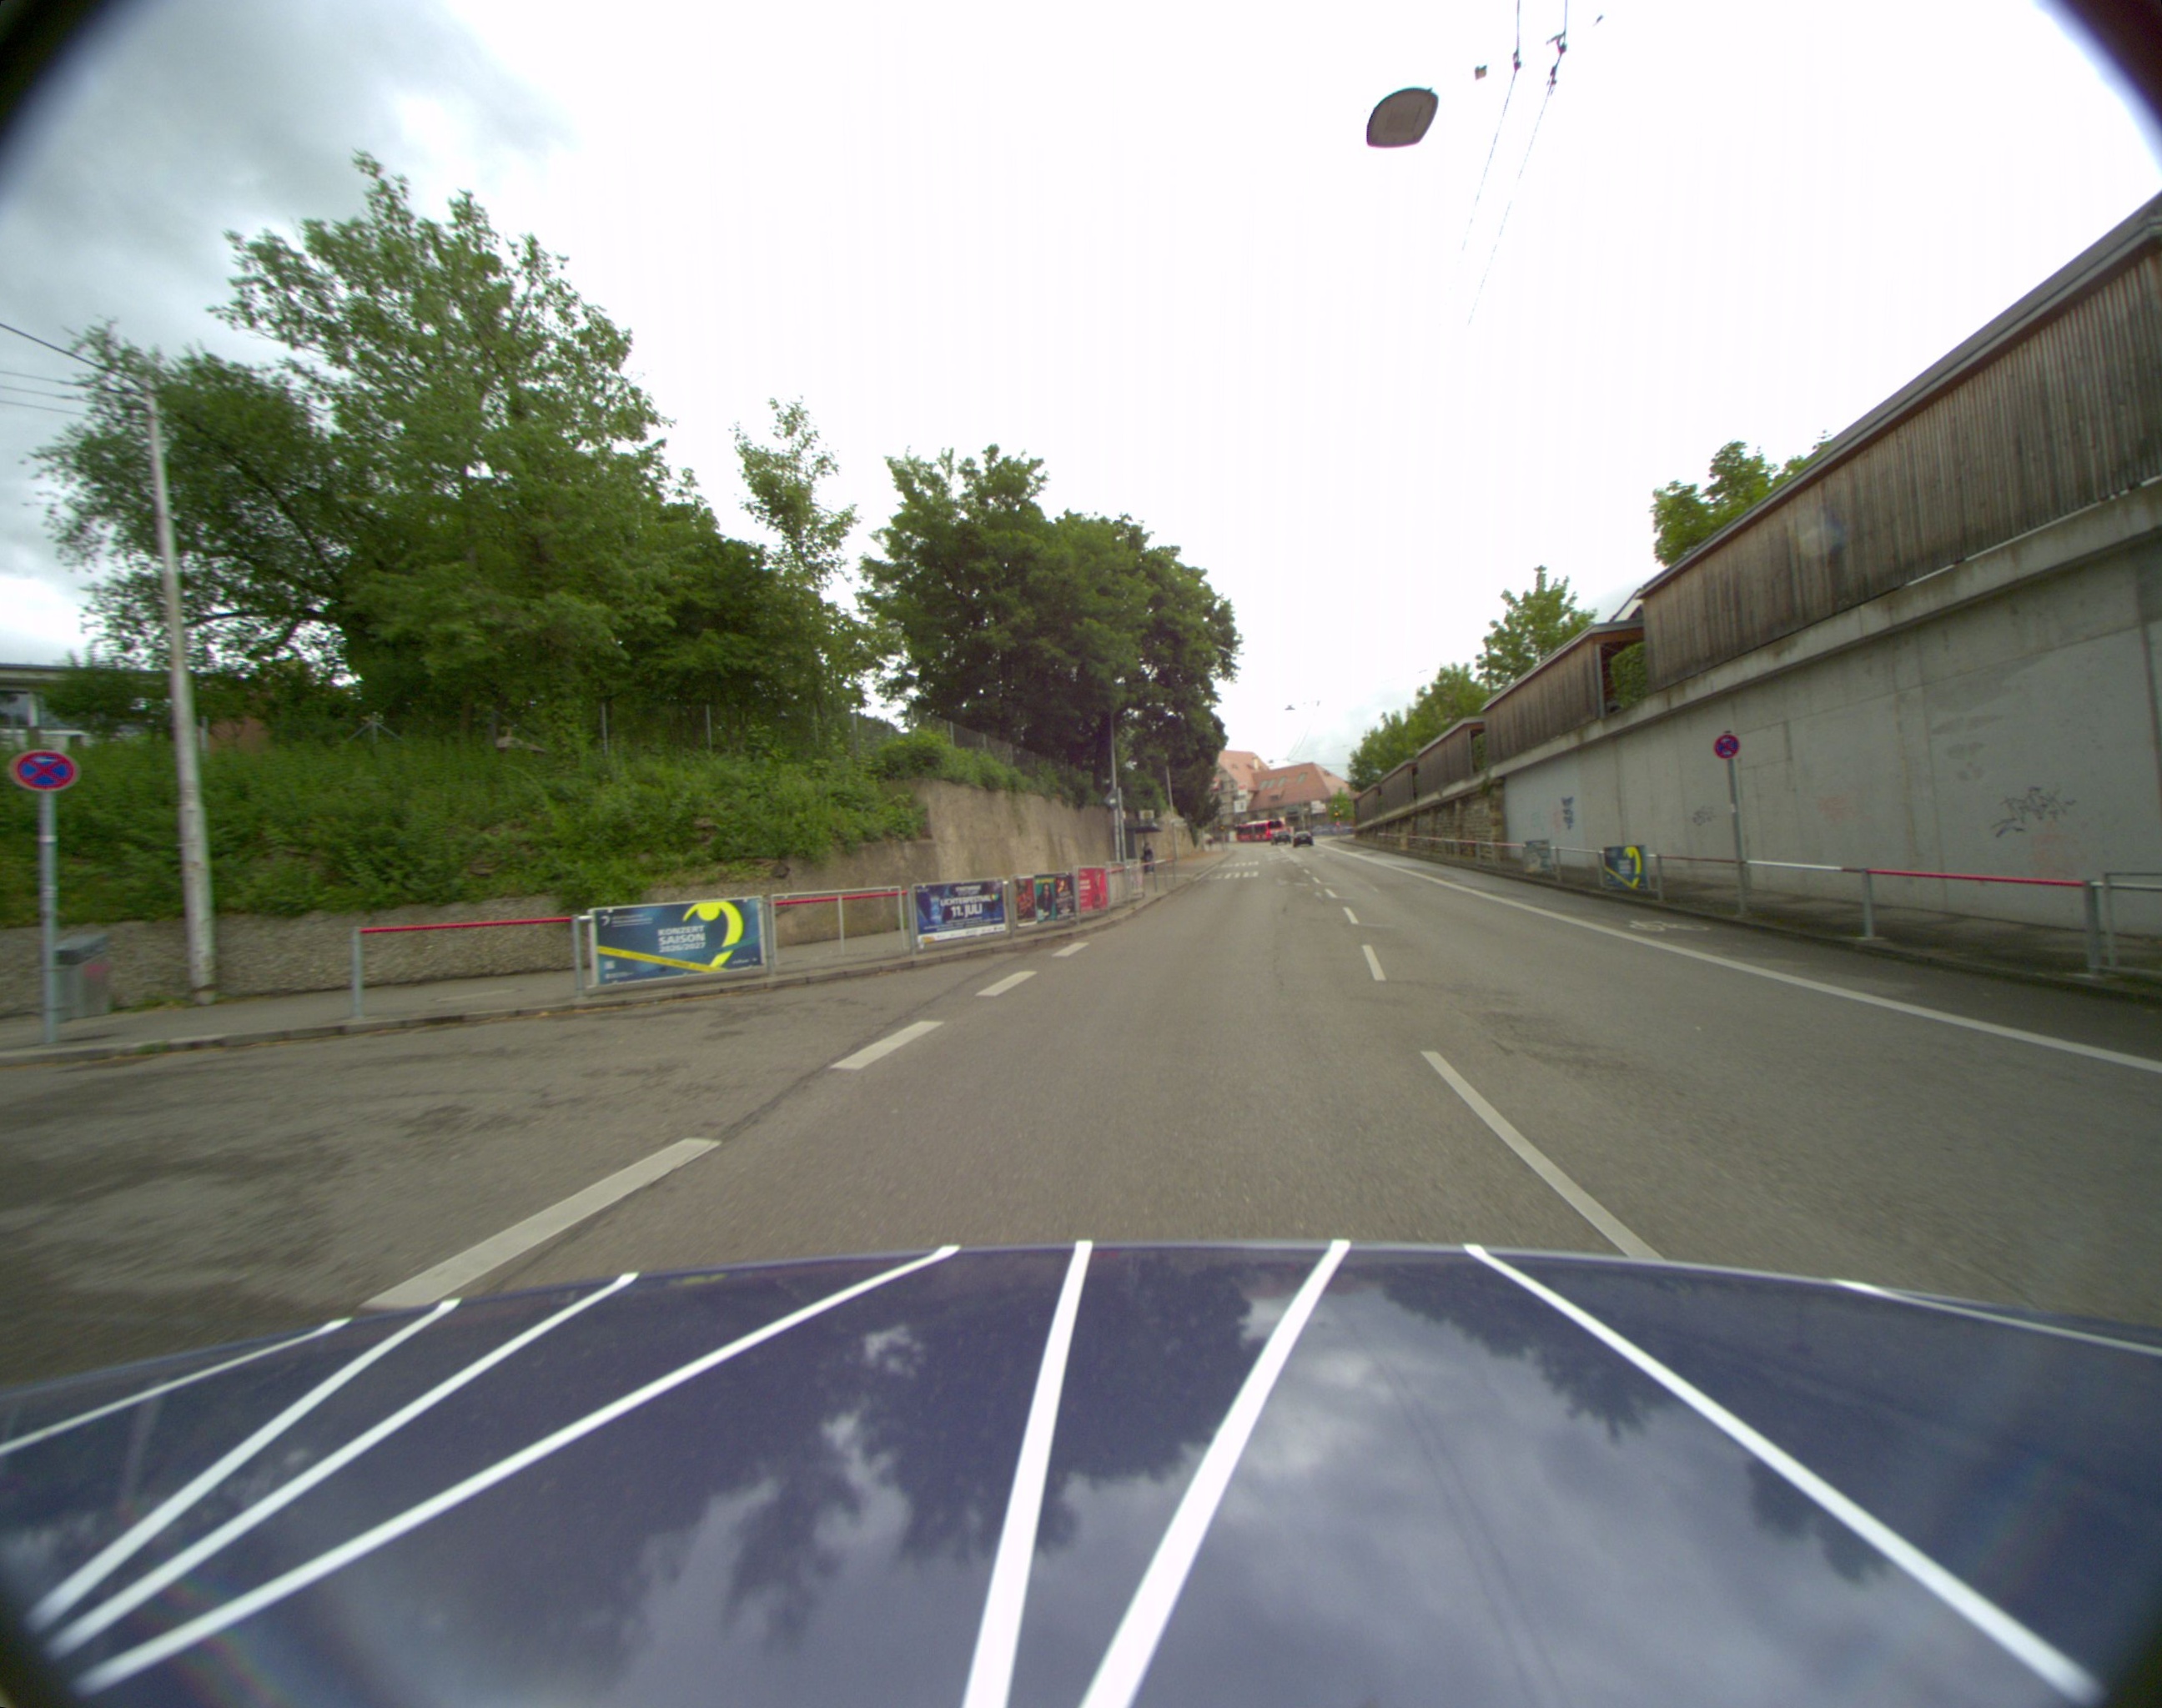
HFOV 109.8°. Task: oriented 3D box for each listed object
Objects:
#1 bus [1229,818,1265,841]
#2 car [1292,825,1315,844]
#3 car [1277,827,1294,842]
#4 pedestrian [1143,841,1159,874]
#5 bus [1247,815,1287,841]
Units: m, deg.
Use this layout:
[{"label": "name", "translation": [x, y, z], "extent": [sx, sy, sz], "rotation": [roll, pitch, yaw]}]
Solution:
[{"label": "bus", "translation": [27.147, -3.961, 124.763], "extent": [2.912, 3.616, 9.478], "rotation": [-2, 1, -5]}, {"label": "car", "translation": [21.374, -1.890, 73.069], "extent": [1.853, 1.706, 3.883], "rotation": [-2, 1, 13]}, {"label": "car", "translation": [24.577, -2.388, 91.468], "extent": [1.853, 1.706, 3.883], "rotation": [-2, 1, 13]}, {"label": "pedestrian", "translation": [3.594, 0.176, 38.989], "extent": [0.718, 1.631, 0.741], "rotation": [-2, 2, 5]}, {"label": "bus", "translation": [28.106, -3.823, 115.357], "extent": [2.912, 3.616, 9.478], "rotation": [-2, 1, -5]}]
